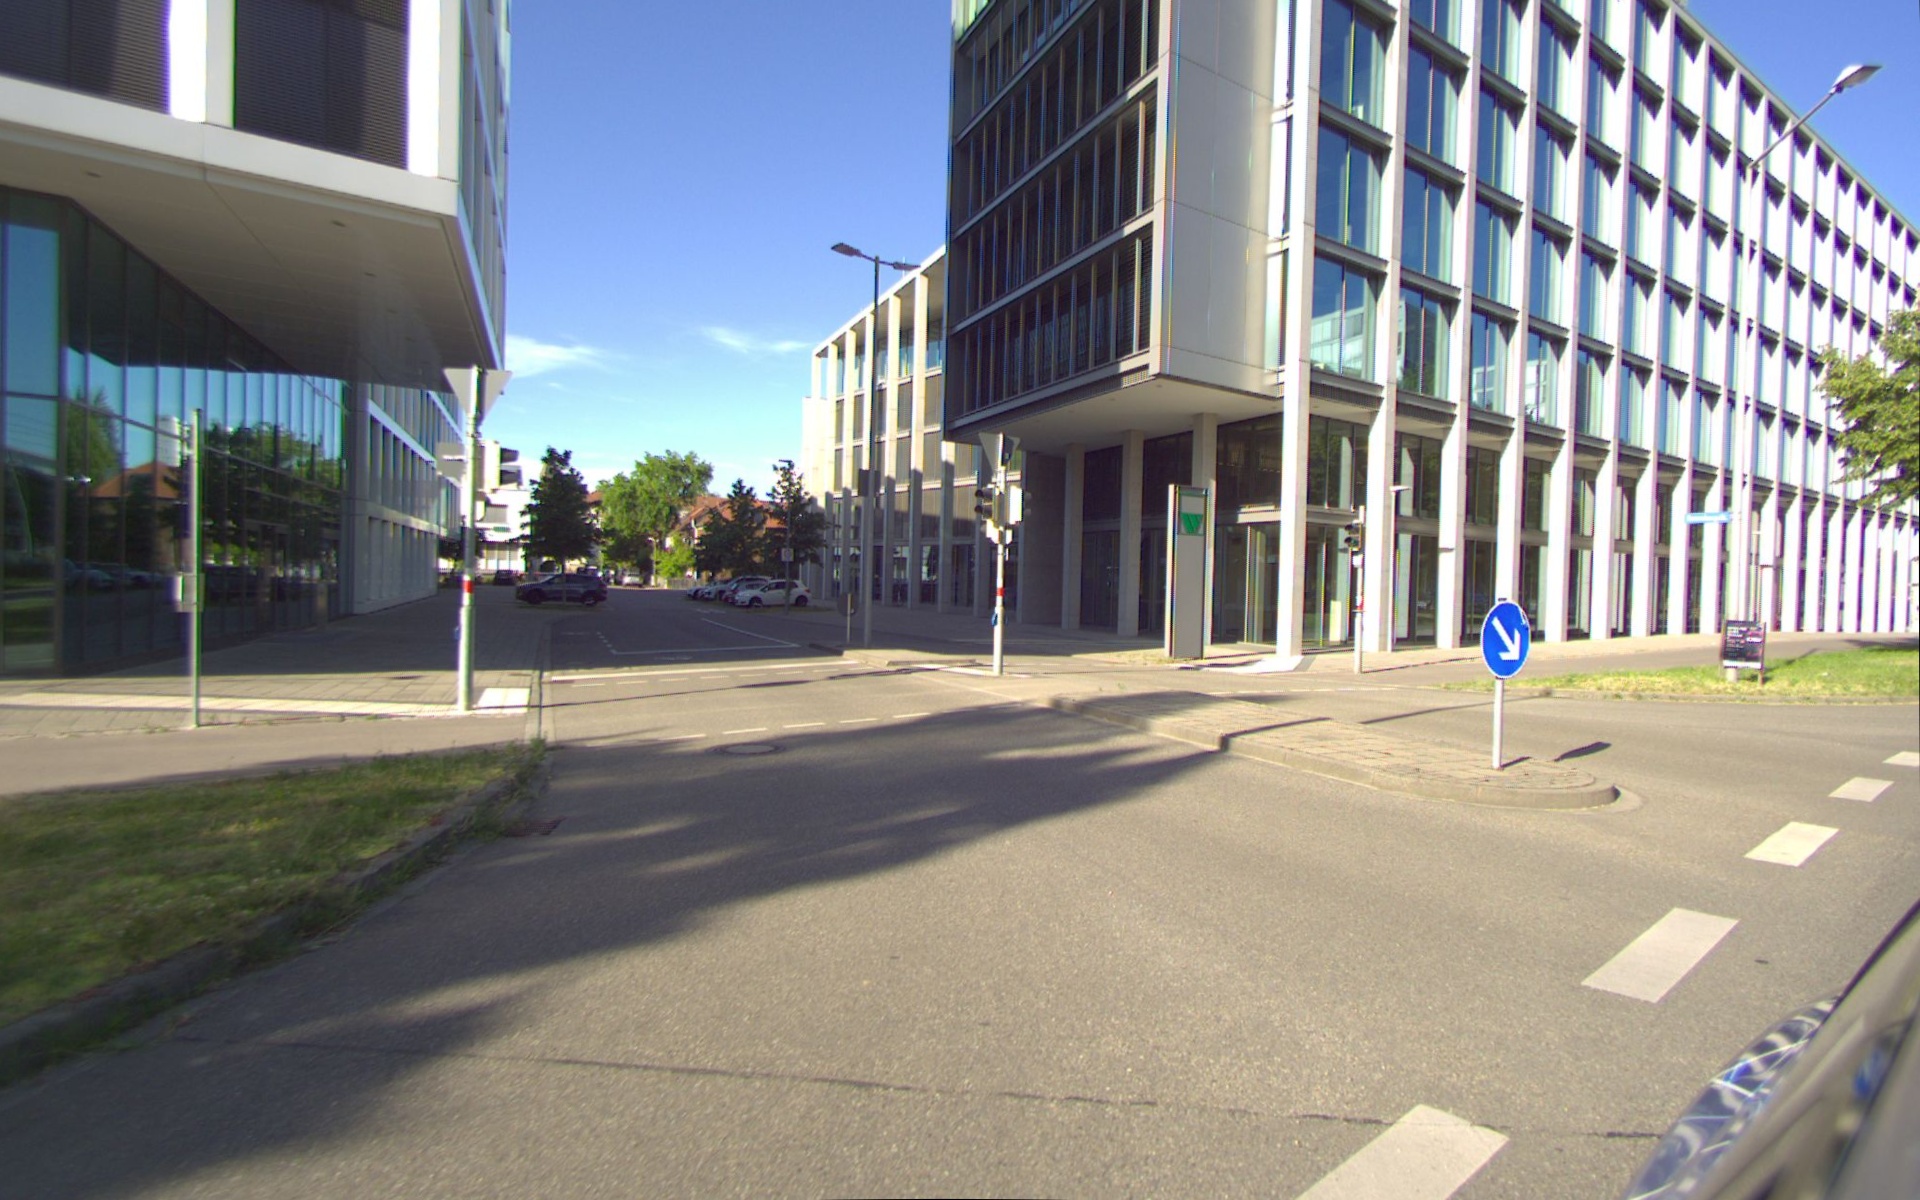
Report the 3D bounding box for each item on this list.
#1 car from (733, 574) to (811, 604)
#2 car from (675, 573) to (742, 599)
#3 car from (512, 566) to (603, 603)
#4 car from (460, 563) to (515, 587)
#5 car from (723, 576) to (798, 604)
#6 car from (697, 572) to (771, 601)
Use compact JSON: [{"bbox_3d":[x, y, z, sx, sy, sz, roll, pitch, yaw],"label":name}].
[{"bbox_3d":[-10.277,-0.585,55.273,3.916,1.523,1.663,1,1,-23],"label":"car"},{"bbox_3d":[-17.725,-0.980,71.443,4.365,1.749,1.797,1,1,-21],"label":"car"},{"bbox_3d":[-20.325,-0.786,51.178,4.205,1.734,1.663,1,1,-23],"label":"car"},{"bbox_3d":[-39.348,-2.079,84.313,4.043,1.816,1.873,1,1,-22],"label":"car"},{"bbox_3d":[-11.423,-0.558,57.951,3.916,1.523,1.663,1,1,-23],"label":"car"},{"bbox_3d":[-14.327,-0.830,64.149,4.365,1.749,1.797,1,1,-21],"label":"car"}]
